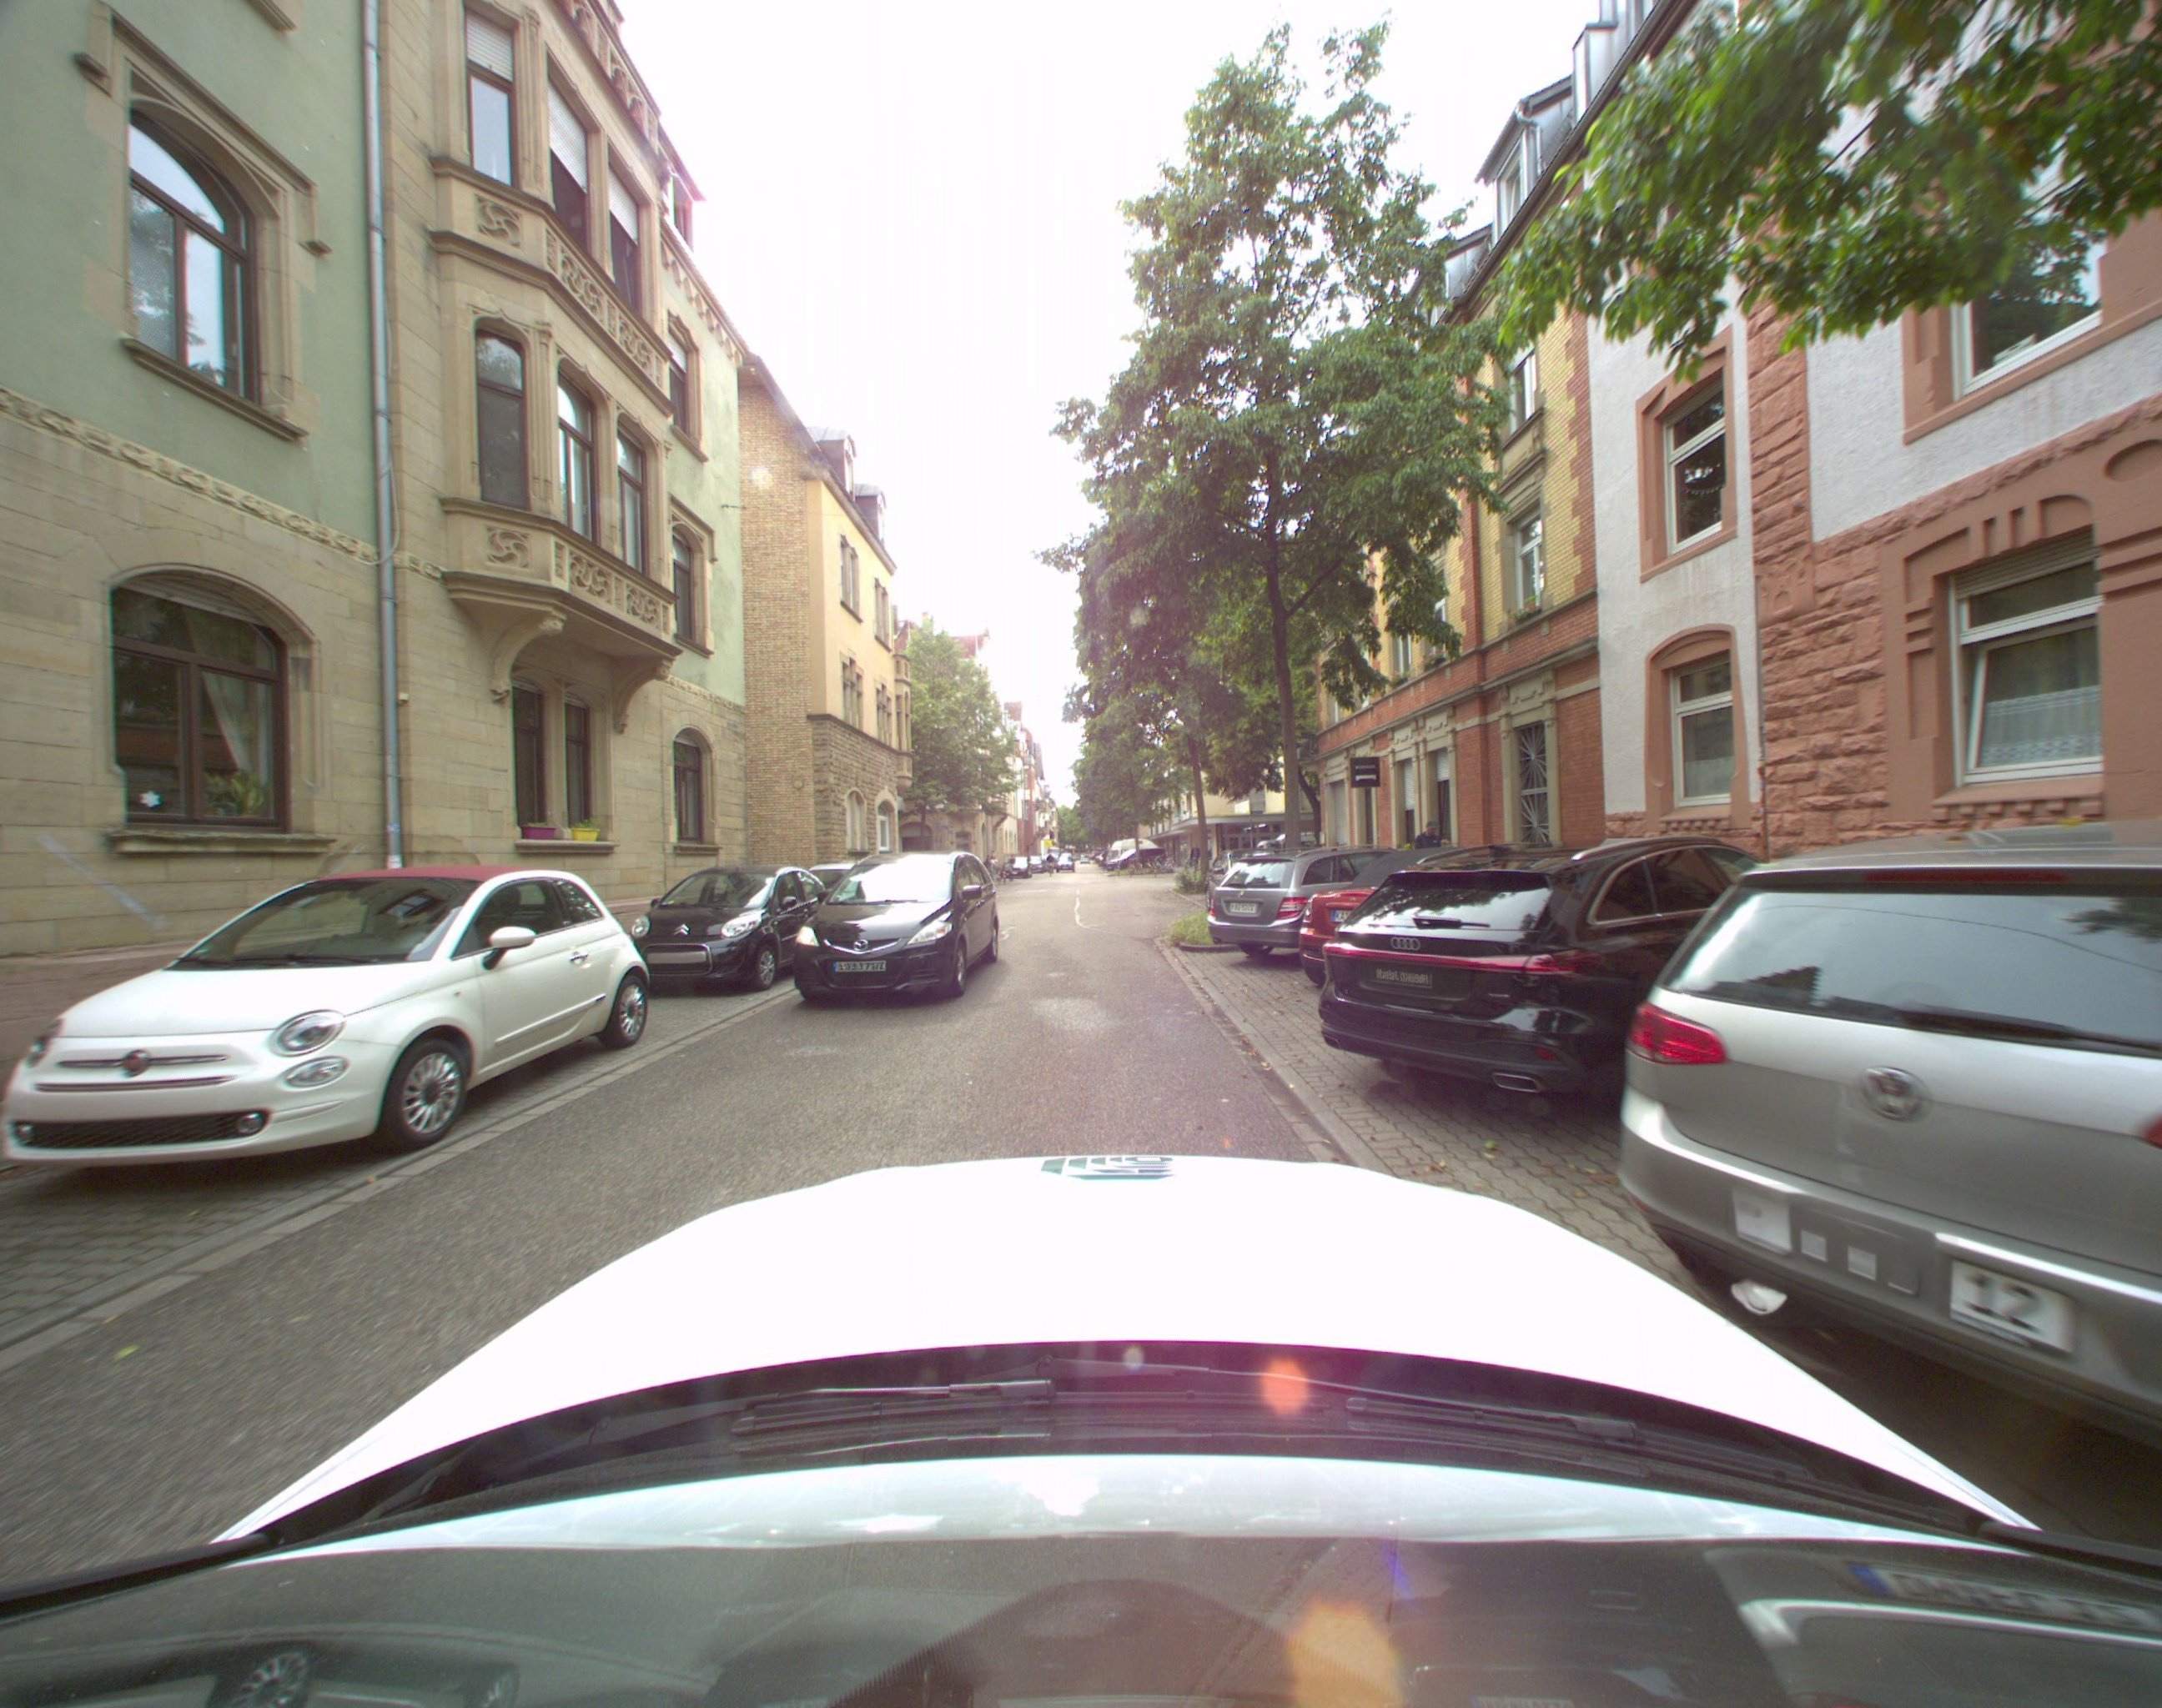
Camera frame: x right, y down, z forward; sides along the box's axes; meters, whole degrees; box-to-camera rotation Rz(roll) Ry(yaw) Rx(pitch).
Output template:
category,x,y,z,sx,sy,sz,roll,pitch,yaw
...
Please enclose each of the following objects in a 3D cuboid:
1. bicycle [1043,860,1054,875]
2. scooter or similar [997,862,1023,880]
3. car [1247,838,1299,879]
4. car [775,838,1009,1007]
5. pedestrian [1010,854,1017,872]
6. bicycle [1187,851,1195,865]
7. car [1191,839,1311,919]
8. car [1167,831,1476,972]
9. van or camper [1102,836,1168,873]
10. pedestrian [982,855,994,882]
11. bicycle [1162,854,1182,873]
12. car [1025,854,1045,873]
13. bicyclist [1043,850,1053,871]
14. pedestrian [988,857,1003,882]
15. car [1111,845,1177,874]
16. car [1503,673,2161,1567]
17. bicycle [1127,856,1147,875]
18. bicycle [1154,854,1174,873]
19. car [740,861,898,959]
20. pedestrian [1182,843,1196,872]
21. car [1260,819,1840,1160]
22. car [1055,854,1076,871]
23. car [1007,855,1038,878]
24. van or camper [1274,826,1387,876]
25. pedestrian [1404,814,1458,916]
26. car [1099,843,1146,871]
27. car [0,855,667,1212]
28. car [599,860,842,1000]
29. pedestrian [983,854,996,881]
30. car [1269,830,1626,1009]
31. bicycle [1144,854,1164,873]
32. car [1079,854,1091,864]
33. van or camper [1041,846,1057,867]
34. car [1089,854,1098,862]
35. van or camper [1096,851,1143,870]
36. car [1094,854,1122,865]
category,x,y,z,sx,sy,sz,roll,pitch,yaw
bicycle,-2.430,0.999,60.344,0.631,1.094,1.800,-2,-1,2
scooter or similar,-4.424,1.072,50.545,1.459,1.104,0.678,0,0,11
car,9.409,0.210,40.224,1.763,1.819,4.003,-2,0,3
car,-2.076,0.728,10.232,1.803,1.630,4.209,-2,-1,2
pedestrian,-5.669,0.737,68.523,0.514,1.518,0.546,-2,0,0
bicycle,8.824,0.328,65.273,0.483,1.090,1.702,-2,0,3
car,3.714,0.502,18.575,1.758,1.486,4.479,-4,0,0
car,3.463,0.536,11.303,4.467,1.427,1.738,-4,0,-38
van or camper,4.063,0.040,61.306,4.614,2.596,1.891,-3,0,-33
pedestrian,-5.748,0.887,50.367,0.524,1.643,0.530,-1,0,12
bicycle,5.897,0.597,52.812,0.550,1.173,1.685,-2,0,-21
car,-3.954,0.783,70.396,1.641,1.570,2.956,0,1,-1
bicyclist,-2.463,0.477,60.463,0.645,1.538,0.677,-3,0,2
pedestrian,-5.434,1.001,51.949,0.623,1.593,0.674,-1,0,41
car,4.527,0.391,58.837,4.353,1.854,1.895,-3,0,-25
car,3.319,0.433,2.495,3.472,1.563,1.773,-1,0,-23
bicycle,3.551,0.715,51.336,0.550,1.173,1.716,-2,0,-21
bicycle,5.330,0.593,52.421,0.550,1.173,1.716,-2,0,-21
car,-4.426,0.869,14.353,1.584,1.434,3.808,0,0,-1
pedestrian,6.687,0.223,50.376,0.776,1.797,0.510,-1,0,2
car,3.161,0.584,5.343,3.707,1.466,1.688,-3,0,-31
car,-1.416,0.798,73.752,1.702,1.413,3.852,-2,-1,1
car,-3.937,0.851,55.741,1.703,1.495,4.001,0,-1,2
van or camper,14.001,-0.214,45.957,5.740,2.494,2.141,-2,3,7
pedestrian,6.202,0.190,14.461,0.595,1.733,0.663,-2,0,-1
car,3.615,0.238,70.000,2.040,2.196,4.427,-3,0,32
car,-4.372,0.784,5.335,1.663,1.511,3.549,-1,0,-4
car,-4.354,0.823,10.423,1.512,1.434,3.456,0,0,1
pedestrian,-5.748,0.841,51.068,0.612,1.643,0.605,-1,0,12
car,4.051,0.558,8.800,3.901,1.435,1.727,-3,-1,-35
bicycle,4.682,0.592,52.129,0.550,1.173,1.716,-2,0,-21
car,0.709,0.881,140.322,1.986,1.794,4.000,0,-1,1
van or camper,-4.570,0.312,116.661,2.001,2.650,5.317,-1,3,0
car,3.088,0.964,199.836,1.987,2.013,3.999,1,0,0
van or camper,4.503,0.781,95.551,5.034,1.869,2.108,-4,0,-28
car,4.251,0.906,129.390,4.036,1.559,1.866,-2,0,-31
